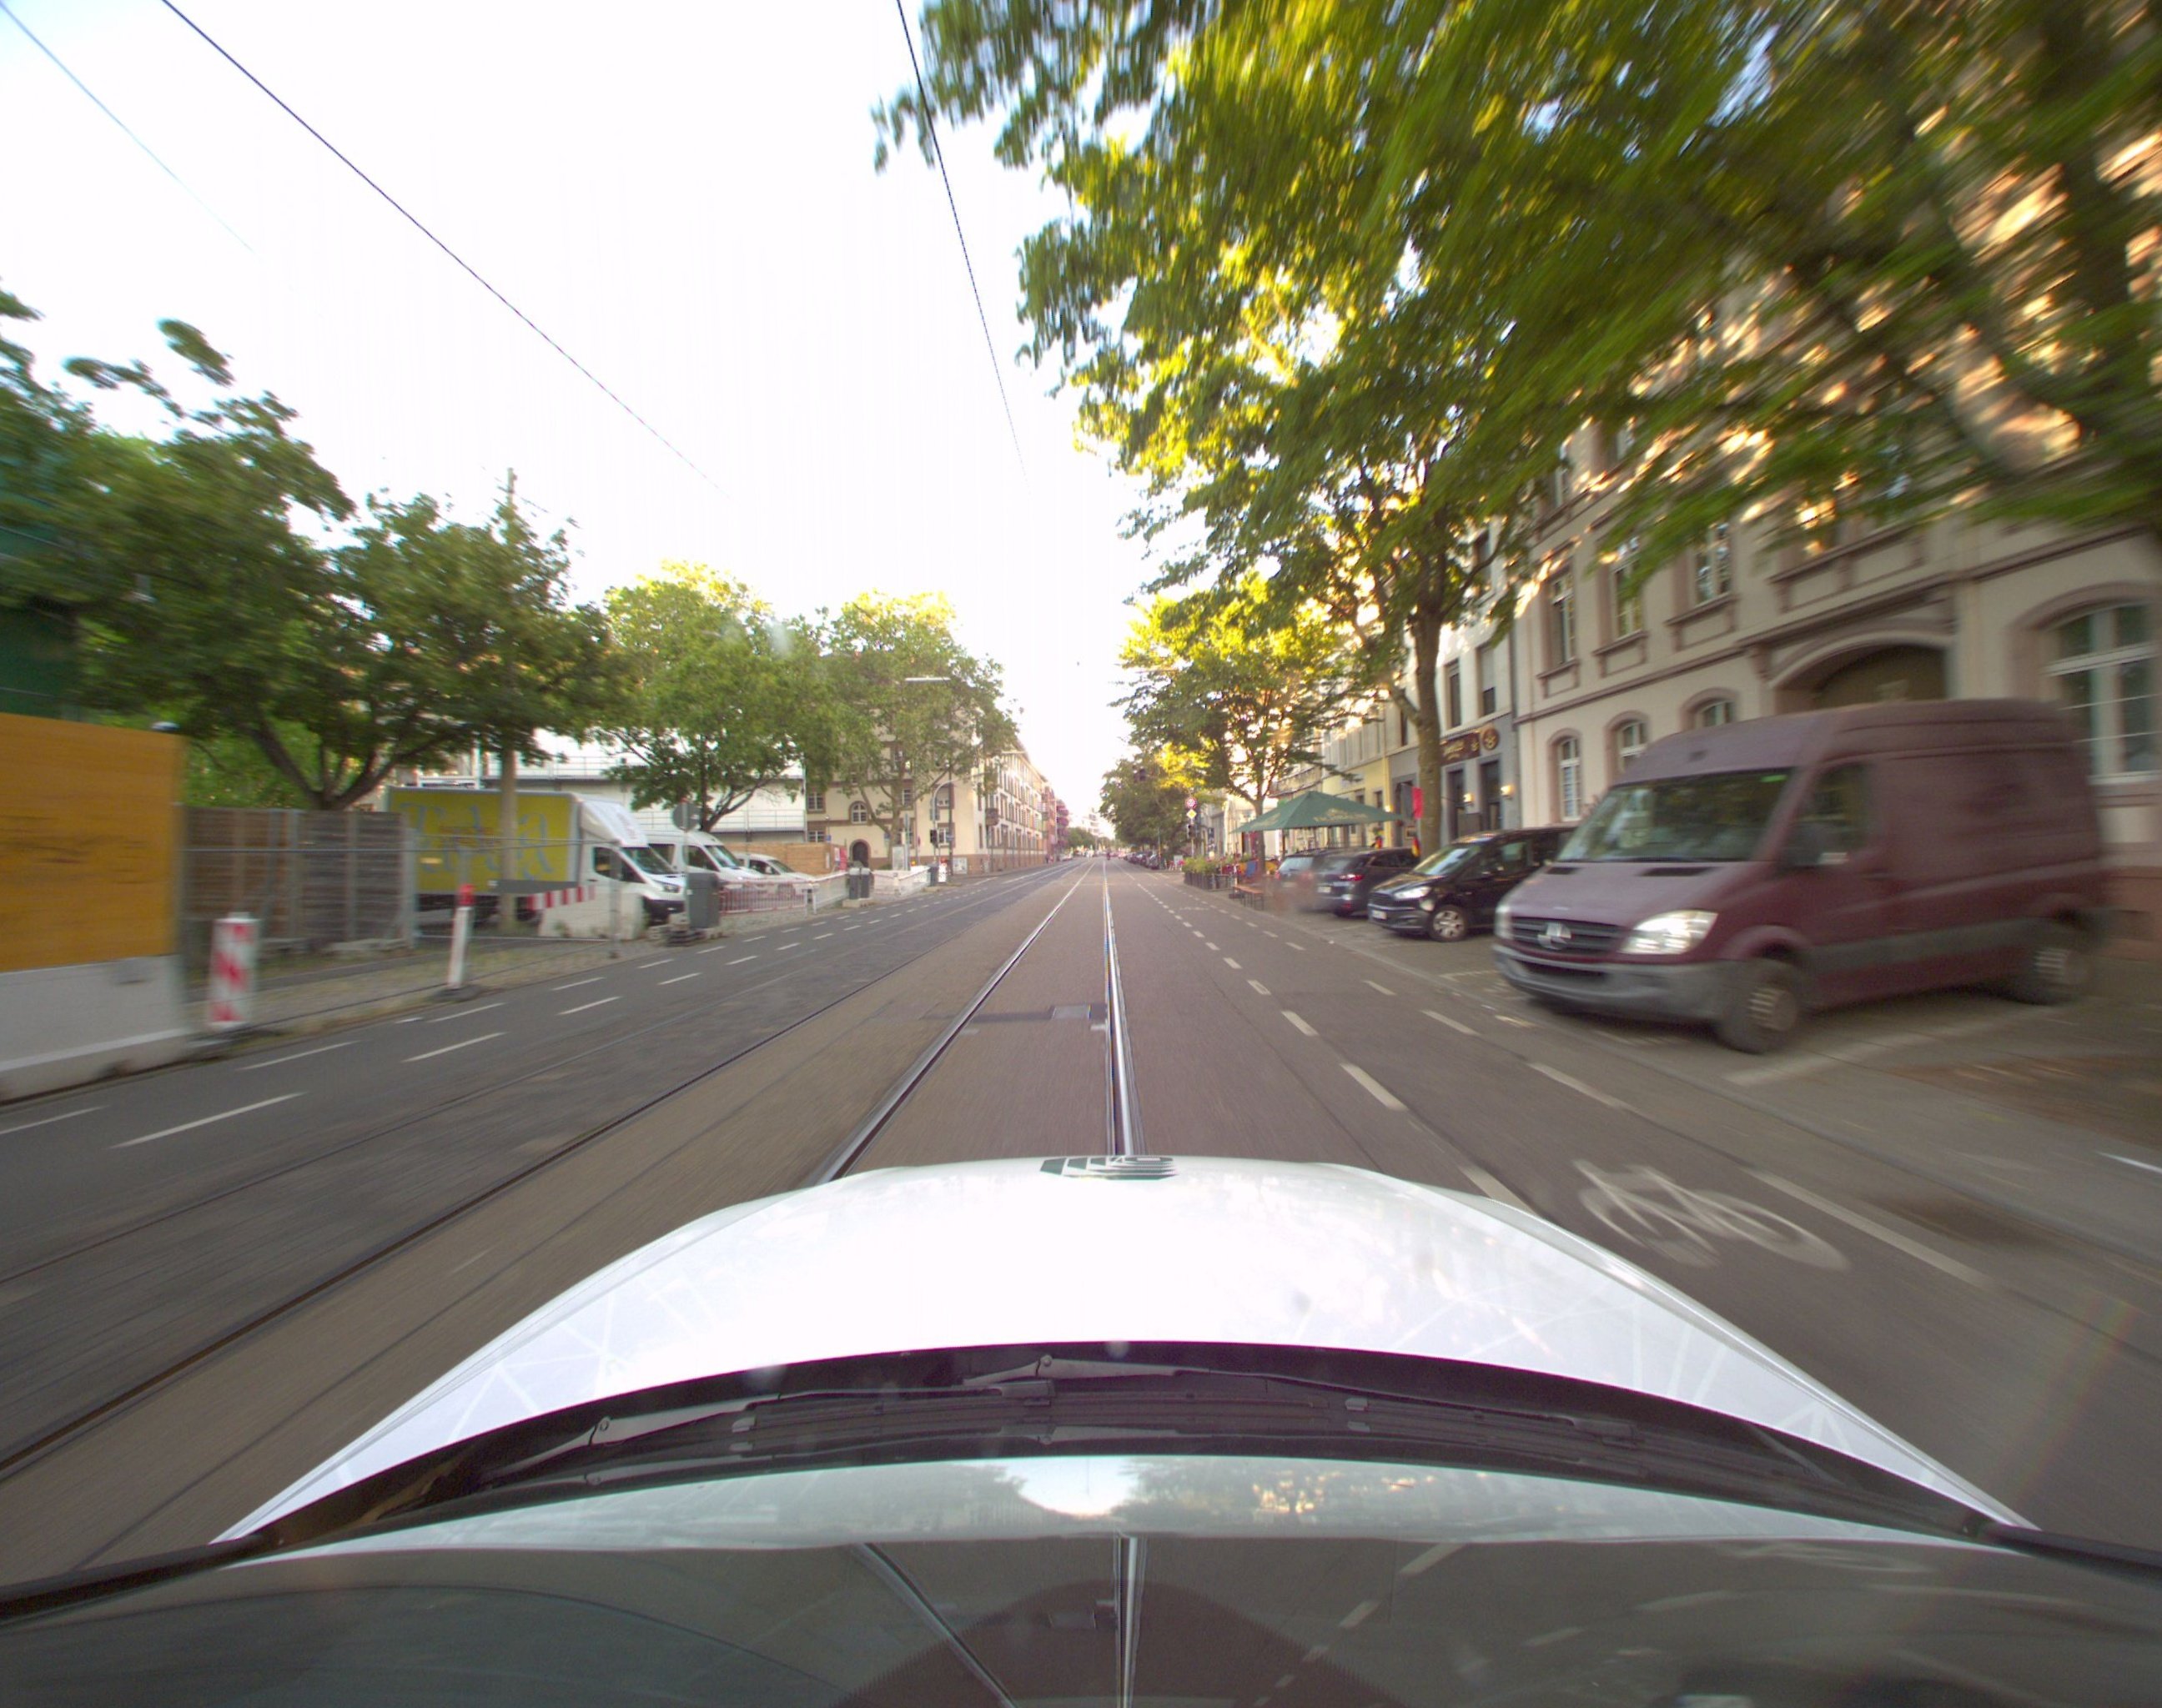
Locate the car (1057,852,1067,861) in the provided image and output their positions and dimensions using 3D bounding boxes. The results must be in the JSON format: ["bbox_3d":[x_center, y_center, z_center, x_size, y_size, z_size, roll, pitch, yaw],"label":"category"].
[{"bbox_3d":[-4.326,0.518,185.428,1.891,2.013,4.001,-1,0,2],"label":"car"}]

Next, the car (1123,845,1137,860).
[{"bbox_3d":[7.105,-0.204,117.955,1.798,2.013,4.001,-1,0,2],"label":"car"}]

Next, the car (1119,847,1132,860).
[{"bbox_3d":[7.122,-0.099,130.884,1.891,2.013,4.001,-1,0,2],"label":"car"}]

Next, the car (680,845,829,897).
[{"bbox_3d":[-12.901,0.616,32.393,5.001,1.945,2.230,1,1,5],"label":"car"}]

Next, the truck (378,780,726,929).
[{"bbox_3d":[-13.144,0.012,20.693,7.039,3.480,2.539,0,0,-3],"label":"truck"}]

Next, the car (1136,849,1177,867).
[{"bbox_3d":[7.385,0.404,79.475,3.872,1.661,1.862,-1,-1,2],"label":"car"}]

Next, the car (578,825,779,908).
[{"bbox_3d":[-12.959,0.384,26.540,5.384,2.558,2.226,0,0,-2],"label":"car"}]

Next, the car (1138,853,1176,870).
[{"bbox_3d":[7.938,0.802,85.564,3.872,1.661,1.862,-1,0,2],"label":"car"}]

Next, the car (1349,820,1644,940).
[{"bbox_3d":[6.829,0.399,13.633,4.006,1.708,1.814,-2,-1,-6],"label":"car"}]

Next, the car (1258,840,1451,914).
[{"bbox_3d":[6.691,0.527,19.960,4.194,1.498,1.993,-3,-1,-23],"label":"car"}]

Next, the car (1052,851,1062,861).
[{"bbox_3d":[-5.142,0.419,175.237,1.891,2.013,4.001,-1,0,2],"label":"car"}]

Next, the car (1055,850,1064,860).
[{"bbox_3d":[-4.750,0.289,179.878,1.891,2.178,4.001,-1,0,2],"label":"car"}]

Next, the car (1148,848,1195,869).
[{"bbox_3d":[7.690,0.363,69.329,3.872,1.592,1.862,-2,0,2],"label":"car"}]

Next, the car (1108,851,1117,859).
[{"bbox_3d":[7.531,0.212,194.517,1.891,2.013,4.001,-1,0,2],"label":"car"}]

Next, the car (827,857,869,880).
[{"bbox_3d":[-17.649,1.069,61.919,1.905,1.640,4.119,-1,0,2],"label":"car"}]

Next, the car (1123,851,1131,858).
[{"bbox_3d":[11.632,0.155,205.877,1.956,1.718,4.001,-1,0,2],"label":"car"}]

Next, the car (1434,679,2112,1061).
[{"bbox_3d":[6.073,-0.024,7.287,5.105,2.642,2.011,-4,0,-16],"label":"car"}]

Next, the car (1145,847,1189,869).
[{"bbox_3d":[7.869,0.362,74.663,3.872,1.848,1.862,-1,-1,2],"label":"car"}]

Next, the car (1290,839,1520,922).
[{"bbox_3d":[6.895,0.524,17.464,4.182,1.462,1.998,-3,-1,-15],"label":"car"}]

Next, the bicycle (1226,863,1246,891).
[{"bbox_3d":[5.896,0.851,31.026,0.417,1.015,1.831,-1,0,2],"label":"bicycle"}]

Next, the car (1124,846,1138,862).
[{"bbox_3d":[6.670,0.006,108.369,1.715,2.013,4.001,-1,0,2],"label":"car"}]
